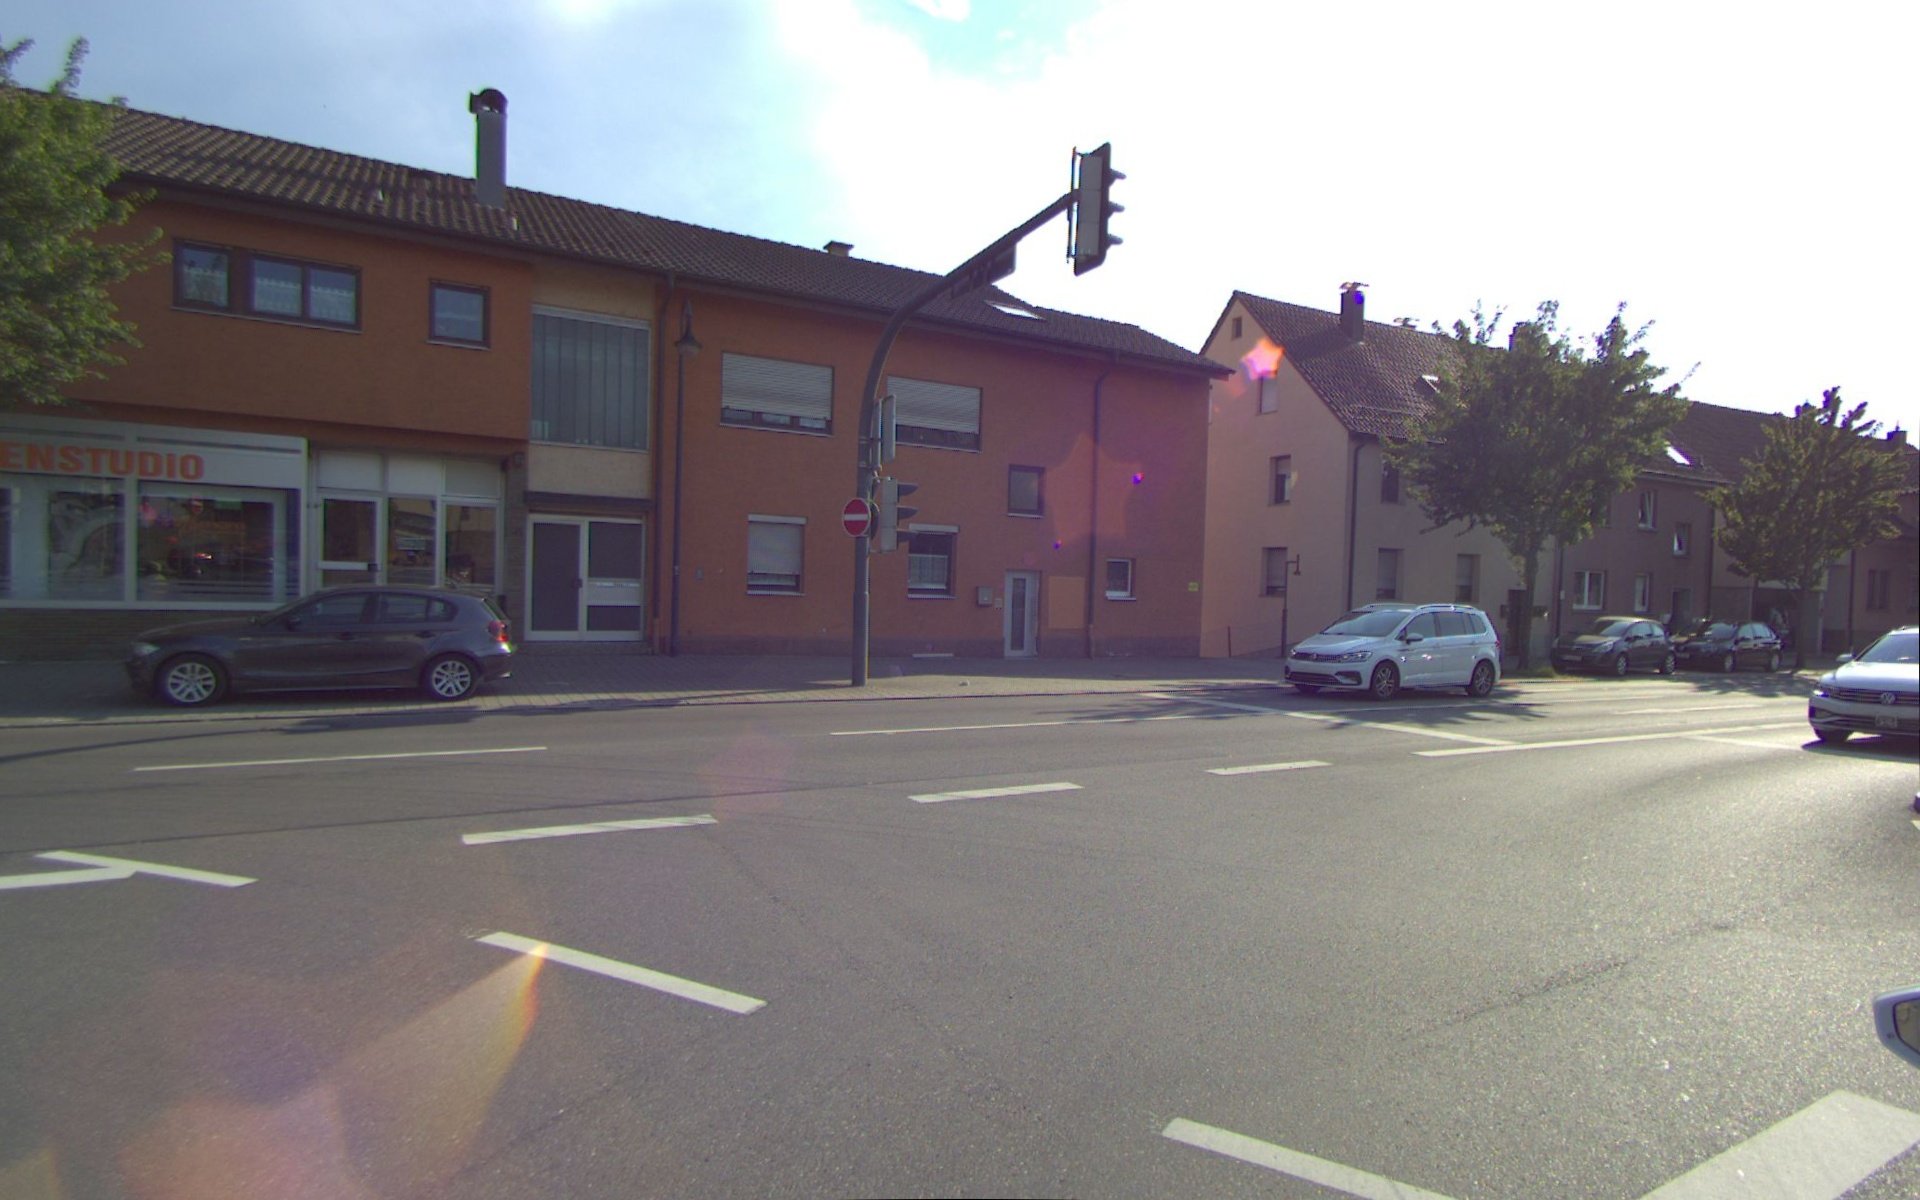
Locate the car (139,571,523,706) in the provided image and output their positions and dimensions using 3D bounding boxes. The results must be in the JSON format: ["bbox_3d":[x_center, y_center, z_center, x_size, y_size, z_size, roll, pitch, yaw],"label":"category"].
[{"bbox_3d":[-7.795,0.444,12.838,3.893,1.433,1.787,1,3,-29],"label":"car"}]

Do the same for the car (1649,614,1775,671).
[{"bbox_3d":[22.185,1.227,29.593,4.087,1.531,1.610,1,0,-32],"label":"car"}]

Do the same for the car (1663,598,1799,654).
[{"bbox_3d":[30.254,0.983,39.540,1.757,1.906,3.805,2,2,-28],"label":"car"}]

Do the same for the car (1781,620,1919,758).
[{"bbox_3d":[12.522,1.045,12.733,4.513,1.508,1.826,1,0,-31],"label":"car"}]

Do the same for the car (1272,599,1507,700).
[{"bbox_3d":[7.849,0.856,18.244,4.362,1.633,1.677,1,0,-31],"label":"car"}]

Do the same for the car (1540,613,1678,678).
[{"bbox_3d":[17.283,1.175,26.717,3.841,1.531,1.504,1,2,-31],"label":"car"}]
